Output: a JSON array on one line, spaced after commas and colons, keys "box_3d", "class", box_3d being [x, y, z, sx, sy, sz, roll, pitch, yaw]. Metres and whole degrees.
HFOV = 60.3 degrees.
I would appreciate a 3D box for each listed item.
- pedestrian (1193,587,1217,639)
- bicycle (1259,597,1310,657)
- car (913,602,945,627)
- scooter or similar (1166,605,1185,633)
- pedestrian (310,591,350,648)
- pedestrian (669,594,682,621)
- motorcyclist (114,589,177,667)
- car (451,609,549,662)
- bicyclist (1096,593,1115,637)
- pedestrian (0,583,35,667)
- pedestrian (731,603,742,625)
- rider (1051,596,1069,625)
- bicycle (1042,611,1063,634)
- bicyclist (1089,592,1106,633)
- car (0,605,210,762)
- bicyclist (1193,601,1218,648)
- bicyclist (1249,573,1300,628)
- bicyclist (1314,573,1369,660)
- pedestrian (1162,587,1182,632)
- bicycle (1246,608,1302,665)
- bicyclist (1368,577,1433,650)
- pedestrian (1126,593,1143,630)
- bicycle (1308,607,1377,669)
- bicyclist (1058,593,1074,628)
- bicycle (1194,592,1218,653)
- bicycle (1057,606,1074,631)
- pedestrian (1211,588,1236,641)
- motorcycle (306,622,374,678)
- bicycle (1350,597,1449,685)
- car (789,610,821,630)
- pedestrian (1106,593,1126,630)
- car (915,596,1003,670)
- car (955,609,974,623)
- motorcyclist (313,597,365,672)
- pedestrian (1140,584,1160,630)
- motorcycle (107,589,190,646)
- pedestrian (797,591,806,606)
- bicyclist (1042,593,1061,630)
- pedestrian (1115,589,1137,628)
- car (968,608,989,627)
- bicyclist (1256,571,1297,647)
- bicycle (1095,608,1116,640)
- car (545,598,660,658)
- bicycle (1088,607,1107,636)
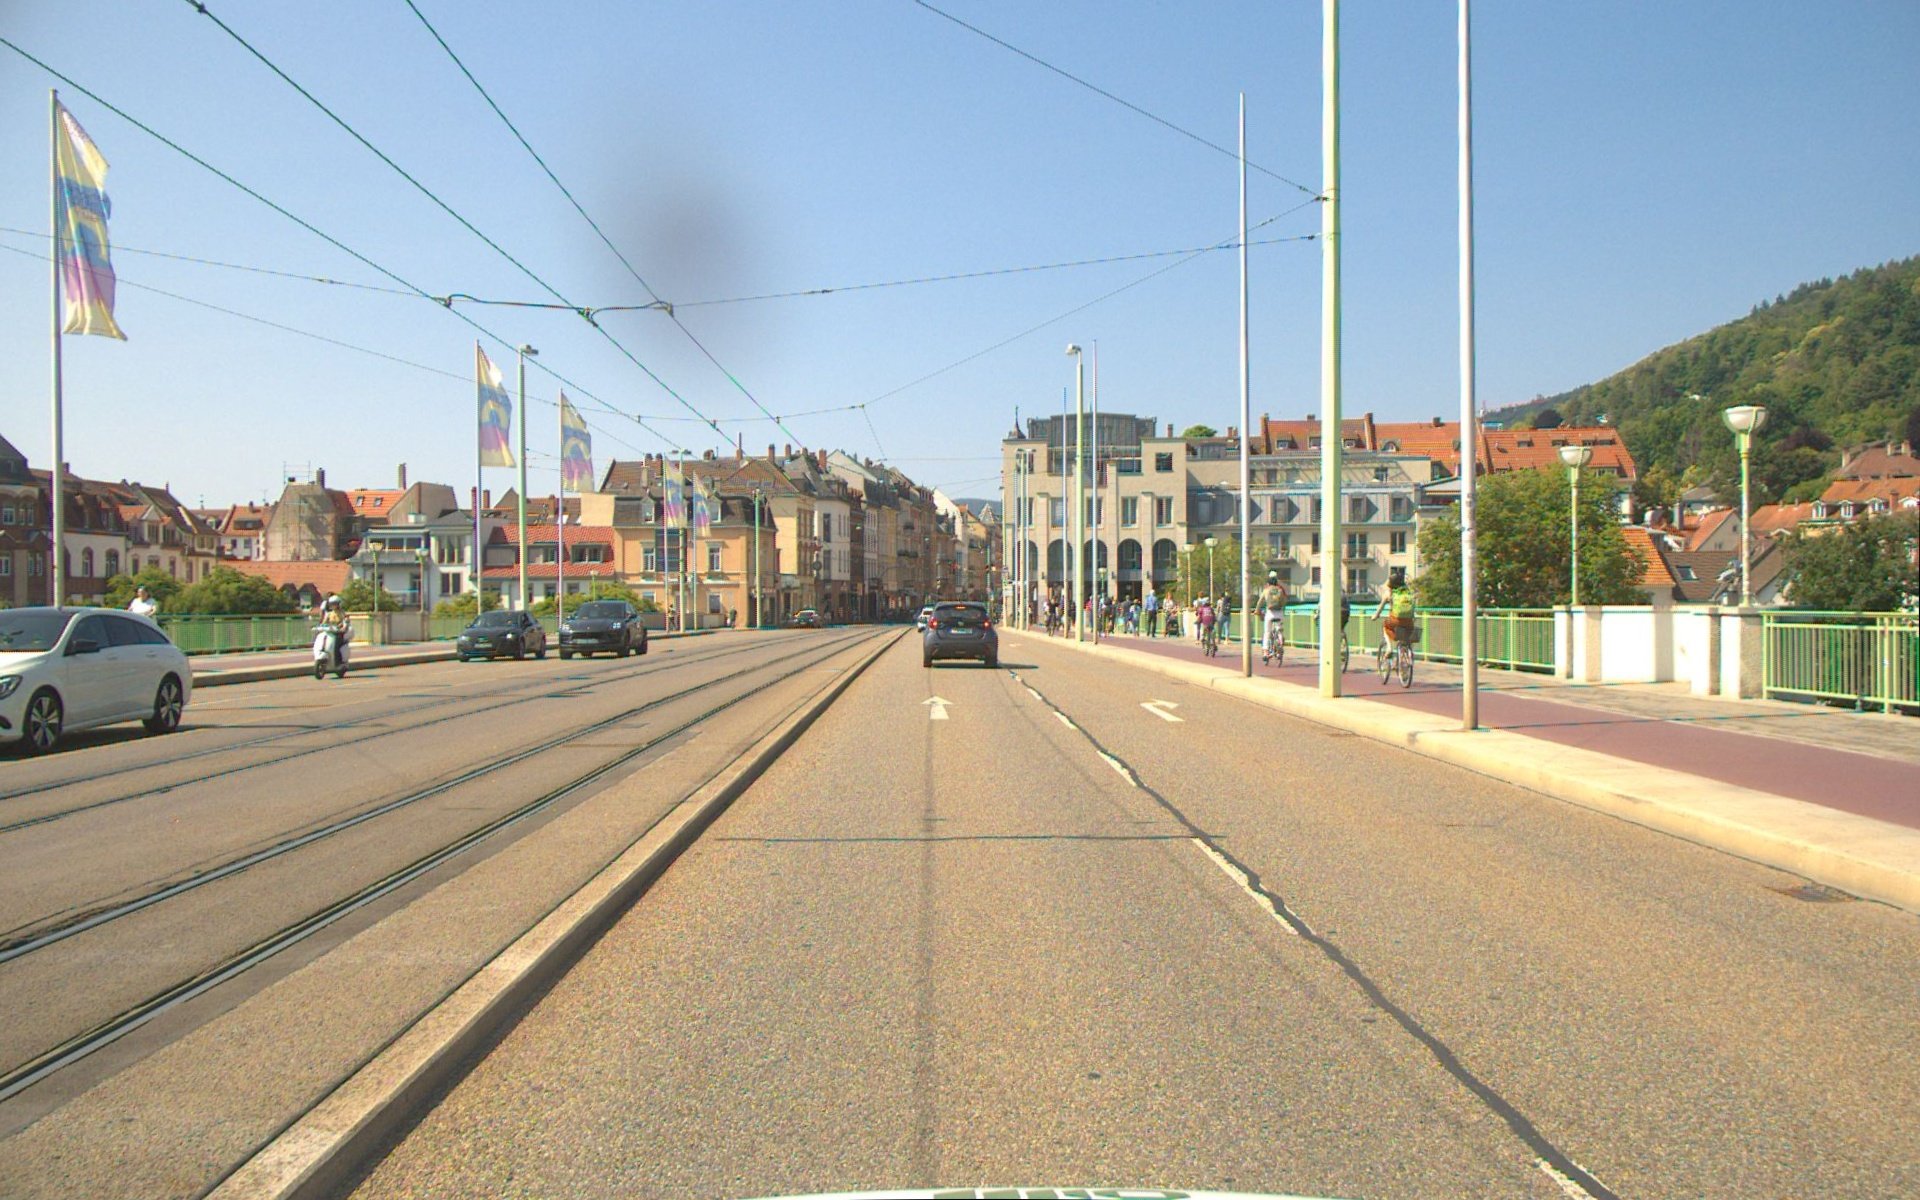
[{"box_3d": [7.641, 0.390, 51.583, 0.587, 1.614, 0.866, 0, 0, -3], "class": "pedestrian"}, {"box_3d": [7.228, 0.579, 36.946, 0.606, 1.293, 2.215, 0, 0, -3], "class": "bicycle"}, {"box_3d": [-1.932, 0.875, 101.707, 1.768, 1.494, 3.997, -2, 0, -4], "class": "car"}, {"box_3d": [8.361, 0.740, 64.138, 0.577, 1.088, 0.865, 0, 0, -3], "class": "scooter or similar"}, {"box_3d": [-19.729, 0.607, 51.804, 0.813, 1.752, 1.094, 0, 0, -1], "class": "pedestrian"}, {"box_3d": [-19.121, 0.526, 111.205, 0.747, 1.818, 0.663, 0, 0, 1], "class": "pedestrian"}, {"box_3d": [-16.789, 0.574, 34.107, 0.784, 1.576, 1.069, 0, 0, -2], "class": "motorcyclist"}, {"box_3d": [-13.273, 0.995, 47.980, 1.723, 1.386, 4.382, 0, 0, -2], "class": "car"}, {"box_3d": [5.734, 0.577, 65.113, 0.643, 1.705, 0.868, 0, 0, -3], "class": "bicyclist"}, {"box_3d": [-19.444, 0.496, 33.465, 0.880, 1.687, 1.029, 0, 0, 1], "class": "pedestrian"}, {"box_3d": [-17.057, 1.076, 126.184, 0.747, 1.694, 0.663, 0, 0, 1], "class": "pedestrian"}, {"box_3d": [5.225, 0.543, 86.650, 0.871, 1.531, 0.840, 0, 0, -3], "class": "rider"}, {"box_3d": [4.127, 1.006, 73.853, 0.640, 0.998, 2.176, -2, -1, -3], "class": "bicycle"}, {"box_3d": [5.790, 0.512, 69.776, 0.615, 1.719, 0.868, 0, 0, -3], "class": "bicyclist"}, {"box_3d": [-9.945, 0.810, 17.694, 1.954, 1.434, 4.544, -1, 0, -3], "class": "car"}, {"box_3d": [5.866, 0.577, 39.496, 0.586, 1.121, 0.853, 0, 0, 9], "class": "bicyclist"}, {"box_3d": [6.166, 0.012, 32.457, 0.720, 1.048, 1.175, 0, 0, -3], "class": "bicyclist"}, {"box_3d": [6.866, 0.288, 29.775, 0.720, 1.527, 0.980, 0, 0, -3], "class": "bicyclist"}, {"box_3d": [8.316, 0.370, 65.012, 0.629, 1.787, 0.866, 0, 0, -3], "class": "pedestrian"}, {"box_3d": [6.160, 0.706, 32.532, 0.606, 1.056, 2.050, 0, 0, -3], "class": "bicycle"}, {"box_3d": [6.493, 0.192, 24.416, 0.653, 1.063, 0.980, 0, 0, -3], "class": "bicyclist"}, {"box_3d": [7.053, 0.448, 66.869, 0.601, 1.491, 0.848, 0, 0, -1], "class": "pedestrian"}, {"box_3d": [6.881, 0.662, 29.865, 0.606, 1.056, 2.265, 0, 0, -3], "class": "bicycle"}, {"box_3d": [5.268, 0.511, 82.479, 0.701, 1.705, 0.868, 0, 0, -3], "class": "bicyclist"}, {"box_3d": [5.865, 0.517, 39.428, 0.523, 1.391, 2.218, 0, 0, 8], "class": "bicycle"}, {"box_3d": [5.273, 0.920, 82.545, 0.653, 1.199, 2.028, 0, 0, -2], "class": "bicycle"}, {"box_3d": [8.224, 0.447, 51.625, 0.587, 1.614, 0.866, 0, 0, -3], "class": "pedestrian"}, {"box_3d": [-13.420, 1.066, 35.861, 0.687, 1.129, 2.178, 0, 0, -2], "class": "motorcycle"}, {"box_3d": [6.466, 0.589, 24.435, 0.682, 1.214, 2.076, -2, 0, -6], "class": "bicycle"}, {"box_3d": [-12.600, 1.616, 134.751, 1.952, 1.505, 4.002, 0, 0, 3], "class": "car"}, {"box_3d": [7.418, 0.545, 78.745, 0.817, 1.719, 0.869, 0, 0, -1], "class": "pedestrian"}, {"box_3d": [-0.079, 0.730, 38.953, 1.872, 1.567, 3.998, -1, 1, -3], "class": "car"}, {"box_3d": [0.482, 1.698, 180.029, 1.838, 1.434, 4.002, 0, 0, 4], "class": "car"}, {"box_3d": [-13.458, 0.735, 35.878, 0.811, 1.601, 0.831, 0, 0, -2], "class": "motorcyclist"}, {"box_3d": [7.580, 0.271, 65.965, 0.698, 1.842, 0.848, 0, 0, -1], "class": "pedestrian"}, {"box_3d": [-16.716, 0.341, 34.134, 0.687, 1.129, 2.178, 0, 0, -2], "class": "motorcycle"}, {"box_3d": [-14.998, -0.131, 156.181, 0.747, 1.422, 0.663, -1, 0, 1], "class": "pedestrian"}, {"box_3d": [4.103, 0.515, 73.920, 0.640, 1.594, 1.337, -2, -1, -3], "class": "bicyclist"}, {"box_3d": [7.747, 0.377, 77.068, 0.911, 1.792, 0.937, 0, 0, -1], "class": "pedestrian"}, {"box_3d": [1.670, 1.535, 145.205, 1.766, 1.494, 4.001, -2, 0, 1], "class": "car"}, {"box_3d": [7.100, 0.194, 37.096, 0.720, 1.664, 0.866, 0, 0, -3], "class": "bicyclist"}, {"box_3d": [5.728, 0.930, 65.247, 0.581, 1.199, 1.939, 0, 0, -2], "class": "bicycle"}, {"box_3d": [-10.173, 0.767, 47.415, 1.951, 1.627, 4.341, 0, 0, 6], "class": "car"}, {"box_3d": [5.795, 0.891, 69.843, 0.515, 1.199, 2.028, 0, 0, -2], "class": "bicycle"}]
